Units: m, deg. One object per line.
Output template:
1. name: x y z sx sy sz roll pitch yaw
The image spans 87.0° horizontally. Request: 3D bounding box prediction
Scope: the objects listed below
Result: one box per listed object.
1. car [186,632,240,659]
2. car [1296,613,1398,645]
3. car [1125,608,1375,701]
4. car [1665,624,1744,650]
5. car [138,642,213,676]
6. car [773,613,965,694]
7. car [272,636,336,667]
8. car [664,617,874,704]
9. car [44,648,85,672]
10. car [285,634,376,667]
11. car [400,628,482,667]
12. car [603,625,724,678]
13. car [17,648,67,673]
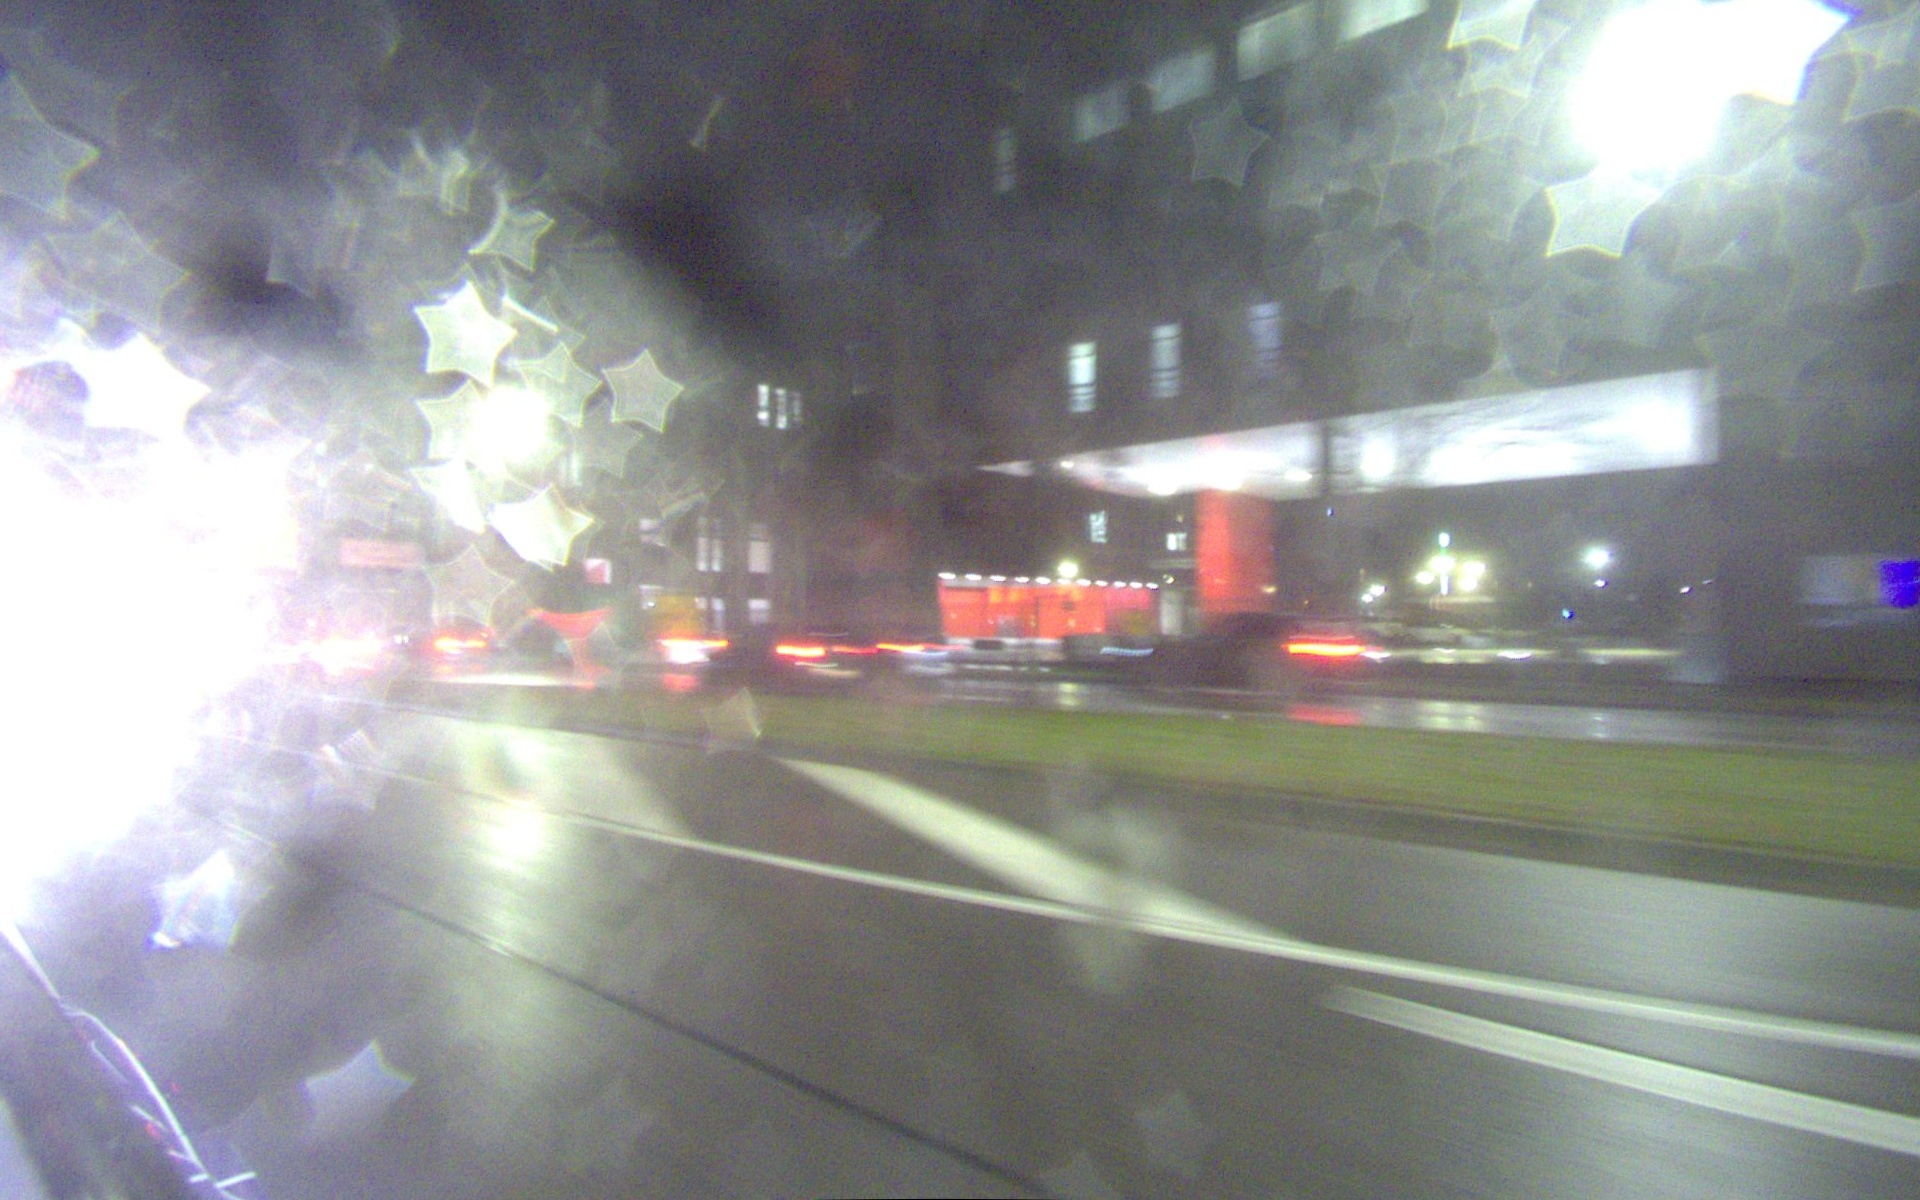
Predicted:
1. car: -47.123 2.858 63.828 4.749 1.604 1.823 -2 -1 42
2. car: 23.615 1.799 61.896 5.424 1.829 1.973 -2 -1 41
3. car: 5.603 1.013 19.913 4.364 1.604 1.823 -2 -1 42
4. car: 48.382 2.424 65.772 3.997 1.586 1.884 -2 -1 40
5. car: -40.889 3.027 52.699 5.319 1.604 1.826 -2 -1 38
6. car: -2.119 1.160 22.744 4.364 1.604 1.823 -2 -1 42
7. car: -37.273 2.905 57.481 4.748 1.604 1.824 -2 -1 42
8. car: -3.883 1.134 20.113 4.364 1.497 1.823 -2 -1 42
9. car: -66.661 4.453 75.316 3.817 1.589 1.689 -2 -1 40
10. car: -28.467 2.245 45.676 5.554 1.369 1.825 -2 -1 40
11. car: -23.173 2.104 45.146 4.364 1.604 1.823 -2 -1 42
12. car: -9.855 1.670 33.490 4.364 1.604 1.823 -2 -1 42
13. car: -61.094 4.032 67.322 4.253 1.605 1.824 -2 -5 40
